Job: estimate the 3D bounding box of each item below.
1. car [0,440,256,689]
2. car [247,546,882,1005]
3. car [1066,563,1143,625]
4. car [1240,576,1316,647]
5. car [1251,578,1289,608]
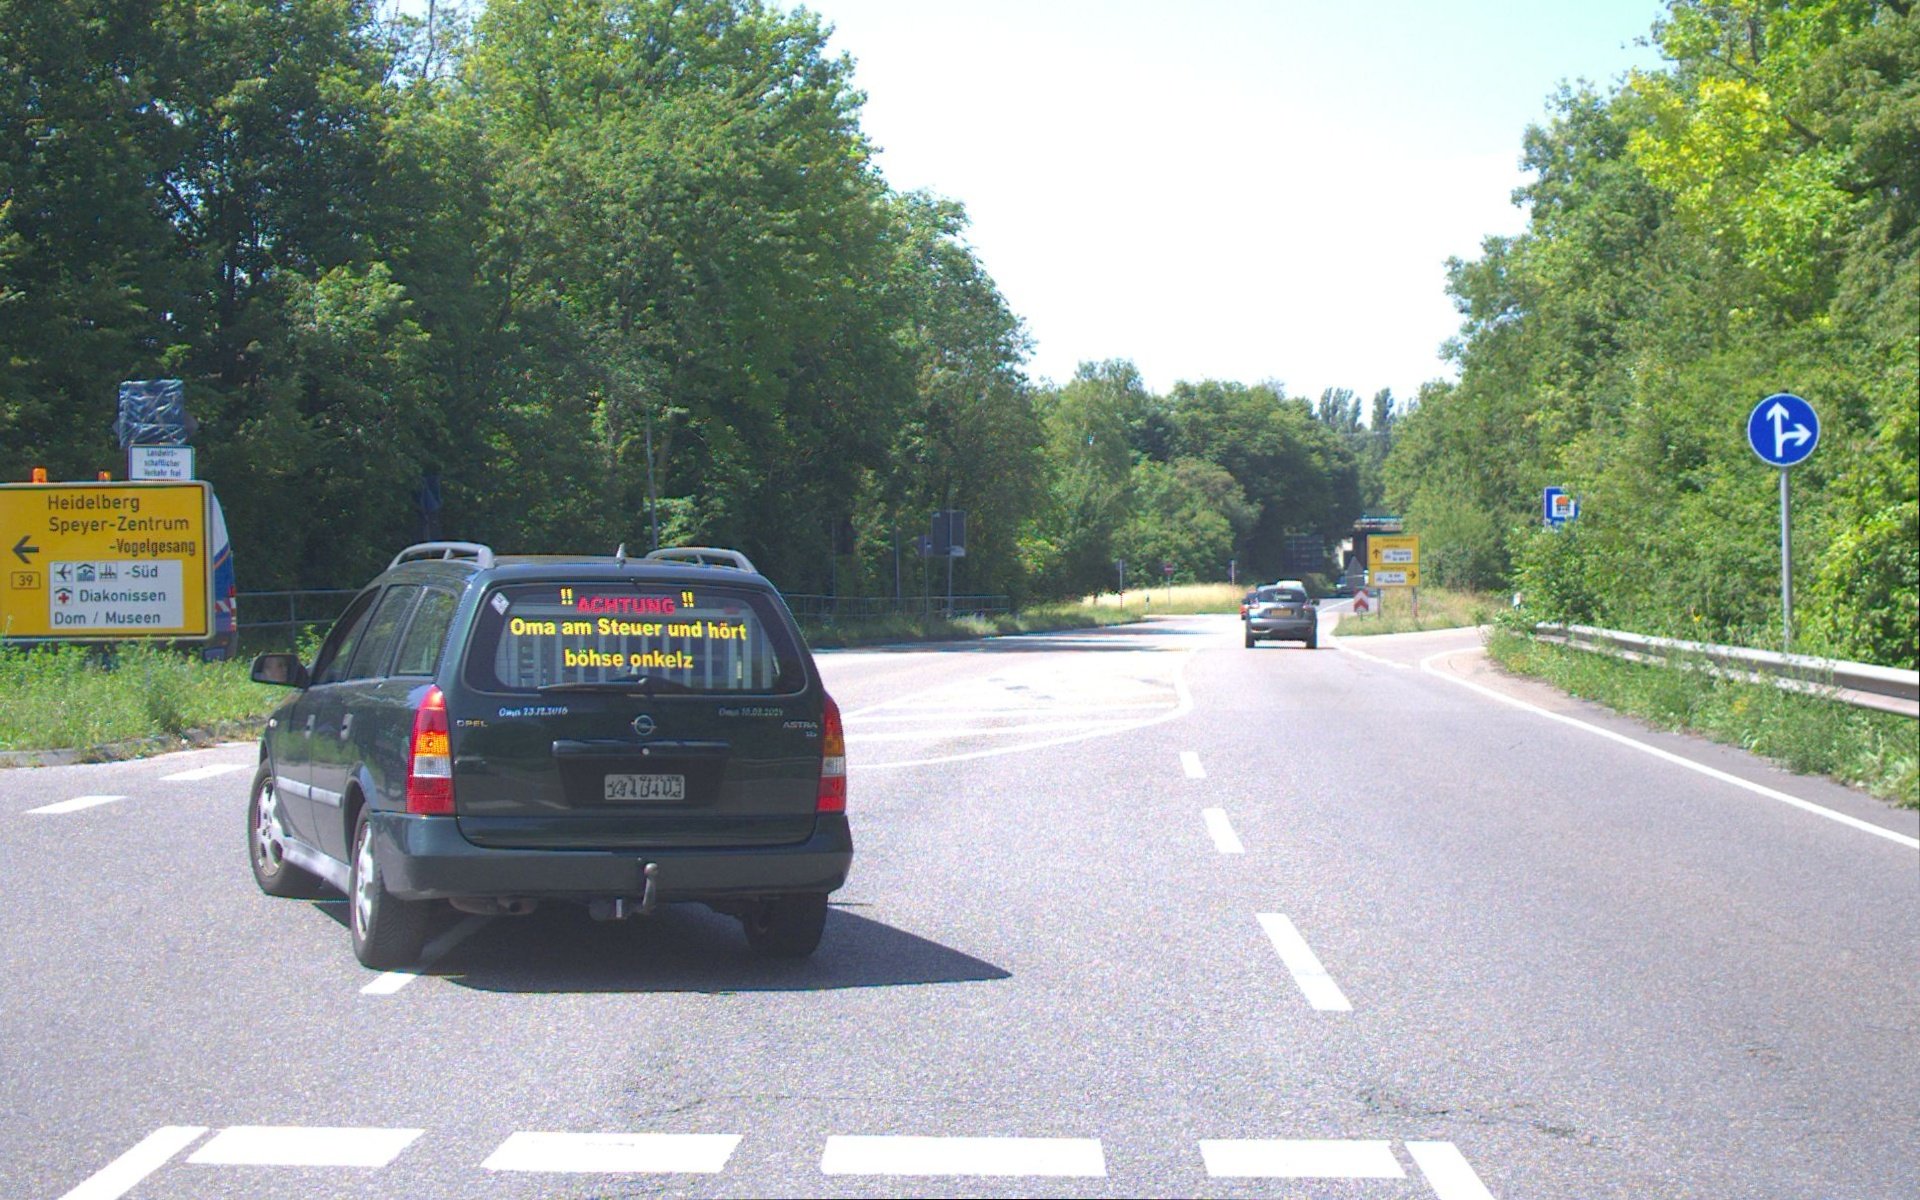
[{"bbox_3d":[-11.173,-0.432,41.322,2.108,2.840,6.004,1,1,25],"label":"car"},{"bbox_3d":[-1.659,0.538,13.170,1.720,1.452,3.799,0,1,-18],"label":"car"},{"bbox_3d":[7.706,-0.349,183.556,1.993,3.215,4.809,-1,1,-27],"label":"car"},{"bbox_3d":[7.882,0.265,85.552,1.843,1.679,4.000,0,1,5],"label":"car"},{"bbox_3d":[15.728,-0.359,174.458,1.810,1.453,3.757,0,1,6],"label":"car"}]
